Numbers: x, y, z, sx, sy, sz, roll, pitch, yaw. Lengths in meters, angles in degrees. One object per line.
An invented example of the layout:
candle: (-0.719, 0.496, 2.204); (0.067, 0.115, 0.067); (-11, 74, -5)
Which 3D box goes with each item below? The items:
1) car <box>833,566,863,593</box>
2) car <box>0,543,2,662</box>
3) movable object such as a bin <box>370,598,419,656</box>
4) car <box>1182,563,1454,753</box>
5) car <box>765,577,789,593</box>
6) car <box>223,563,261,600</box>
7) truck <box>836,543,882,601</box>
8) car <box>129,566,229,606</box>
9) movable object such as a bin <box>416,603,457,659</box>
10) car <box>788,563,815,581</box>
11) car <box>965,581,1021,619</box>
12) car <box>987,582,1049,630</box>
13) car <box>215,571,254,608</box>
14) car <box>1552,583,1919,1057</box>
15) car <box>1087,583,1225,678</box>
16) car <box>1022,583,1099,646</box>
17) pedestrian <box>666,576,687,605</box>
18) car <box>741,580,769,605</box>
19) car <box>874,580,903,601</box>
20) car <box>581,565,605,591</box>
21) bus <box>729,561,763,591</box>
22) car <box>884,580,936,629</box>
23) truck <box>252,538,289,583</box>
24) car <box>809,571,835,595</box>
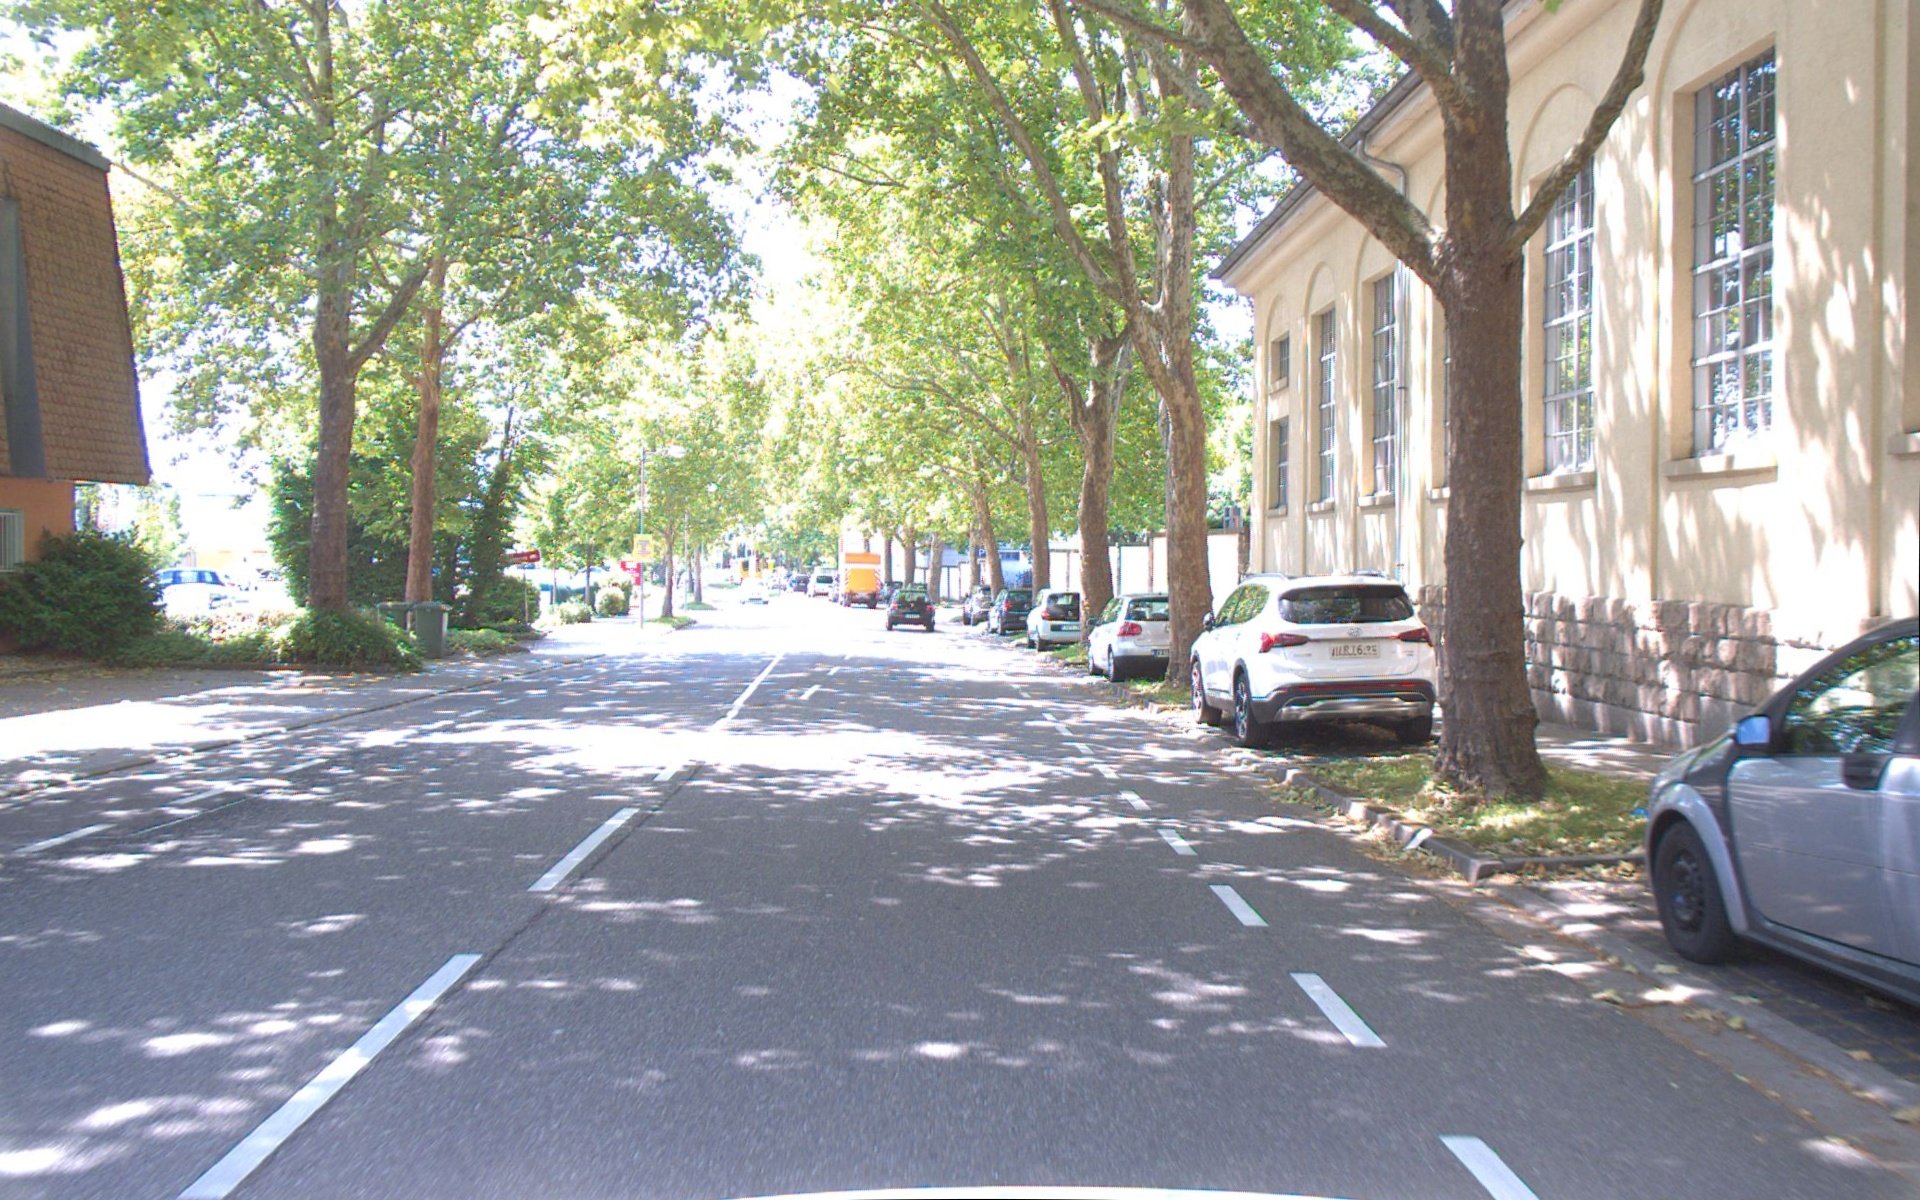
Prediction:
car: (-7.458, -1.347, 109.752); (1.743, 1.734, 3.993); (-1, -1, -7)
car: (-10.655, 0.365, 13.888); (4.047, 1.836, 1.902); (1, 0, -4)
movable object such as a bin: (-10.985, 0.516, 32.153); (0.720, 1.097, 0.701); (0, 1, -2)
car: (3.670, 0.509, 17.845); (1.771, 1.718, 4.751); (-2, 1, -1)
car: (-17.133, -1.371, 154.842); (1.736, 1.398, 3.717); (-2, 1, -13)
car: (-33.311, -0.855, 76.779); (1.579, 1.613, 3.742); (0, -1, -23)
truck: (-5.976, -1.595, 97.149); (2.326, 3.189, 5.759); (-1, -1, -8)
car: (-32.861, -0.588, 69.700); (3.707, 1.613, 1.595); (-1, 1, -24)
movable object such as a bin: (-10.204, 0.606, 32.270); (0.611, 1.066, 0.620); (0, 1, -2)
car: (-13.326, -2.328, 138.724); (1.737, 1.398, 3.716); (-2, 1, -14)
car: (1.275, -0.029, 65.302); (1.732, 1.398, 3.725); (-2, 1, -6)
car: (1.911, 0.164, 55.471); (1.731, 1.491, 3.873); (-2, 1, -3)
car: (-41.780, -0.600, 95.293); (1.966, 2.049, 3.972); (0, -1, -23)
car: (3.834, 0.699, 6.115); (1.588, 1.465, 4.432); (-2, 1, -1)
car: (3.301, 0.469, 28.527); (1.731, 1.458, 3.873); (-2, 1, -3)
car: (2.571, 0.341, 43.001); (1.546, 1.491, 3.873); (-2, 1, -3)
pedestrian: (-14.981, -0.506, 87.428); (1.074, 1.547, 0.967); (0, 0, -10)
car: (-12.773, -0.455, 103.068); (1.678, 1.473, 4.052); (-1, 0, -7)
car: (-4.892, -0.663, 113.318); (1.732, 1.398, 3.725); (-2, 1, -6)
car: (-30.921, -1.856, 139.274); (1.960, 2.049, 3.985); (0, -1, -14)
bus: (-24.032, -2.669, 185.414); (2.618, 3.205, 11.158); (-1, 0, -13)
car: (-1.810, 0.131, 58.706); (1.677, 1.472, 4.055); (-1, 3, -4)
truck: (-48.745, -2.769, 116.892); (2.290, 2.943, 6.533); (0, -1, -24)
car: (-10.342, -1.252, 123.645); (1.843, 1.715, 3.995); (-1, -1, -6)
